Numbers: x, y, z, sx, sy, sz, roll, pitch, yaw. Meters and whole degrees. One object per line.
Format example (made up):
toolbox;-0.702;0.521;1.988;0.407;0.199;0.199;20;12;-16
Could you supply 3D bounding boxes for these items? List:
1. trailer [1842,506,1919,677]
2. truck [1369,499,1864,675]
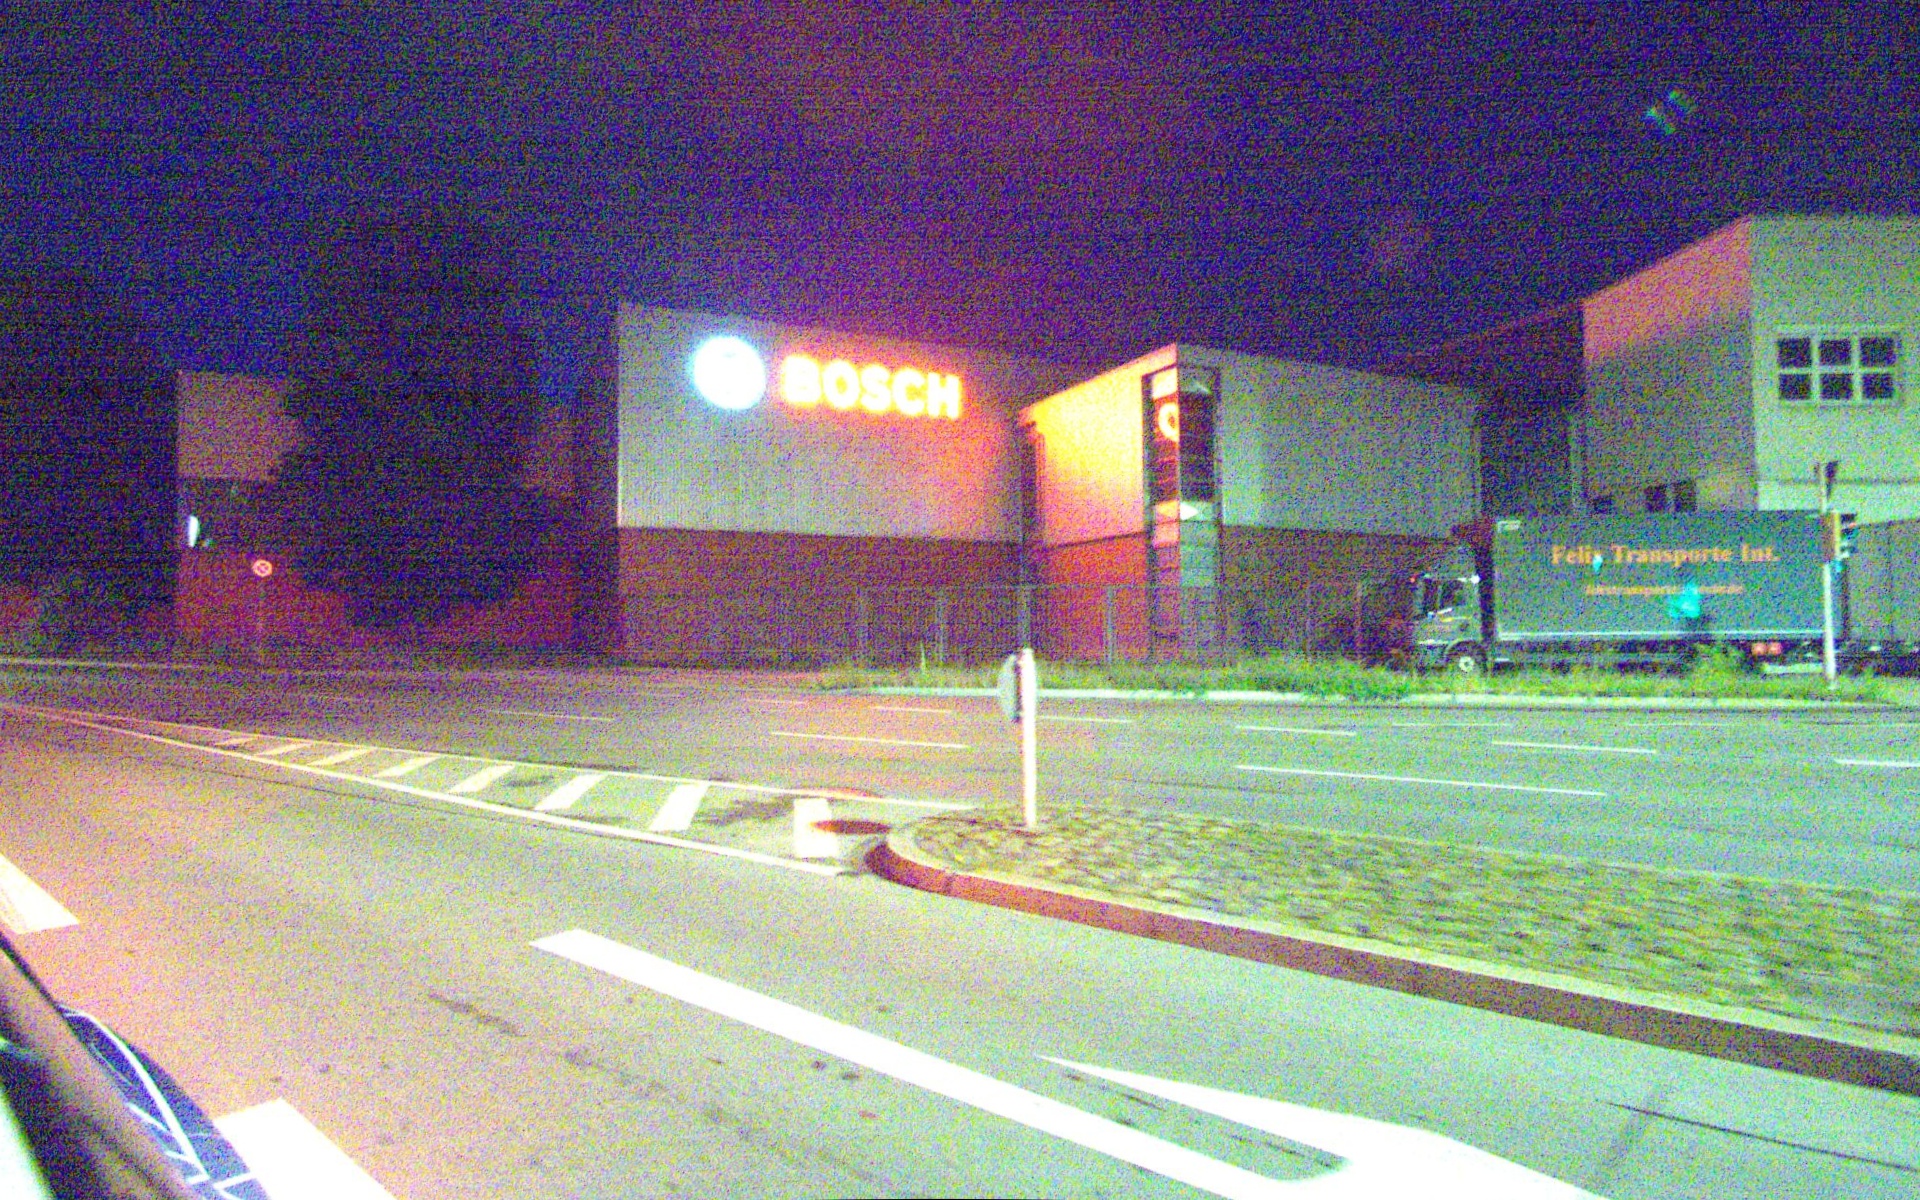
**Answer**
trailer;24.691;-0.164;23.167;6.430;3.819;2.618;0;-1;4
truck;15.025;-0.272;23.928;9.440;3.825;2.942;0;-1;6
